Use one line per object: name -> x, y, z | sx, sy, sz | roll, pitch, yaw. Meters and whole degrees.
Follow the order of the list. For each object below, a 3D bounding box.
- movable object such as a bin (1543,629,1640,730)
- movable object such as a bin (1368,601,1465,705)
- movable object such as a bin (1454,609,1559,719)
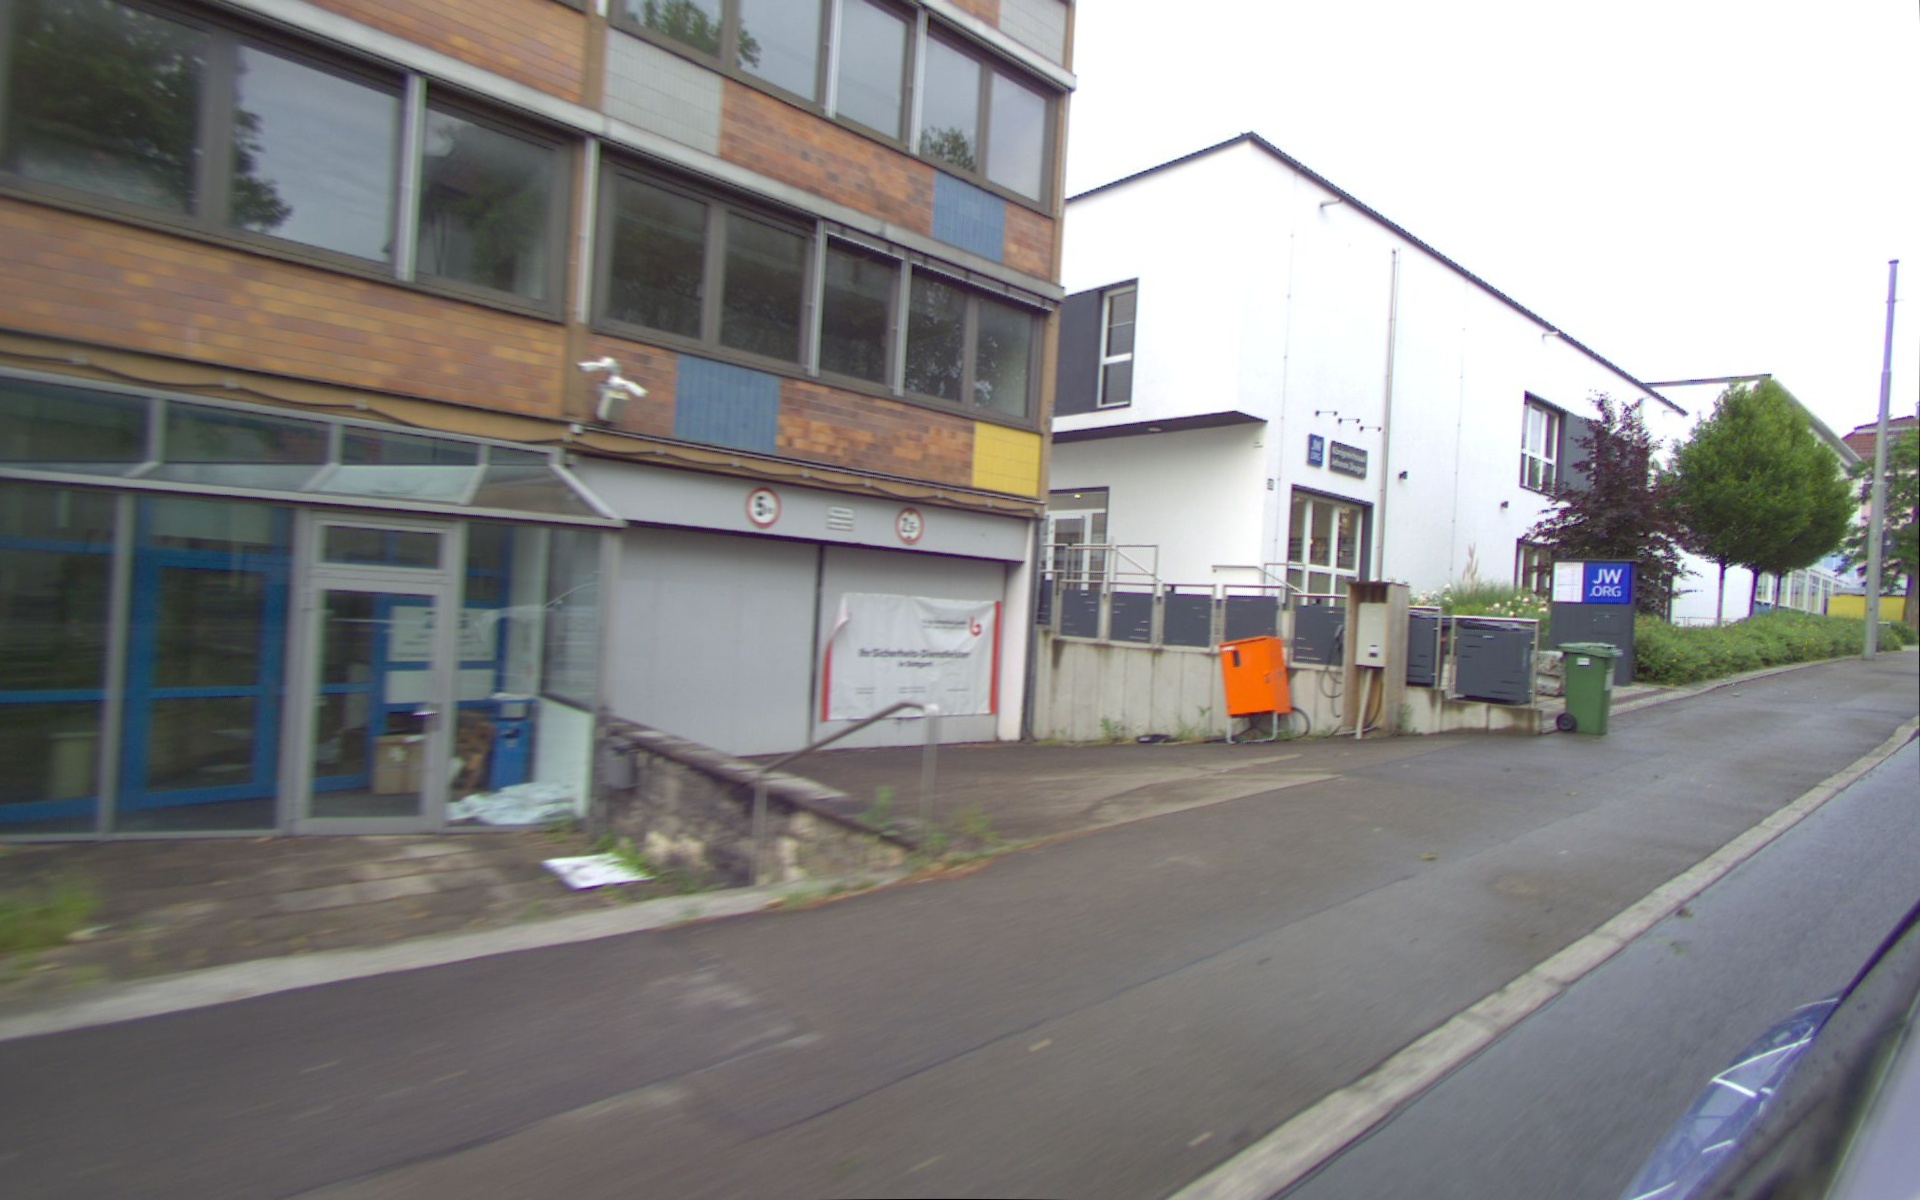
movable object such as a bin -> 6.584, 0.804, 10.556 | 0.673, 0.948, 0.621 | 1, 4, -39
movable object such as a bin -> 5.313, 0.596, 11.786 | 0.764, 1.095, 0.697 | 1, 4, -39
movable object such as a bin -> 5.971, 0.677, 11.062 | 0.764, 1.095, 0.697 | 1, 4, -39
